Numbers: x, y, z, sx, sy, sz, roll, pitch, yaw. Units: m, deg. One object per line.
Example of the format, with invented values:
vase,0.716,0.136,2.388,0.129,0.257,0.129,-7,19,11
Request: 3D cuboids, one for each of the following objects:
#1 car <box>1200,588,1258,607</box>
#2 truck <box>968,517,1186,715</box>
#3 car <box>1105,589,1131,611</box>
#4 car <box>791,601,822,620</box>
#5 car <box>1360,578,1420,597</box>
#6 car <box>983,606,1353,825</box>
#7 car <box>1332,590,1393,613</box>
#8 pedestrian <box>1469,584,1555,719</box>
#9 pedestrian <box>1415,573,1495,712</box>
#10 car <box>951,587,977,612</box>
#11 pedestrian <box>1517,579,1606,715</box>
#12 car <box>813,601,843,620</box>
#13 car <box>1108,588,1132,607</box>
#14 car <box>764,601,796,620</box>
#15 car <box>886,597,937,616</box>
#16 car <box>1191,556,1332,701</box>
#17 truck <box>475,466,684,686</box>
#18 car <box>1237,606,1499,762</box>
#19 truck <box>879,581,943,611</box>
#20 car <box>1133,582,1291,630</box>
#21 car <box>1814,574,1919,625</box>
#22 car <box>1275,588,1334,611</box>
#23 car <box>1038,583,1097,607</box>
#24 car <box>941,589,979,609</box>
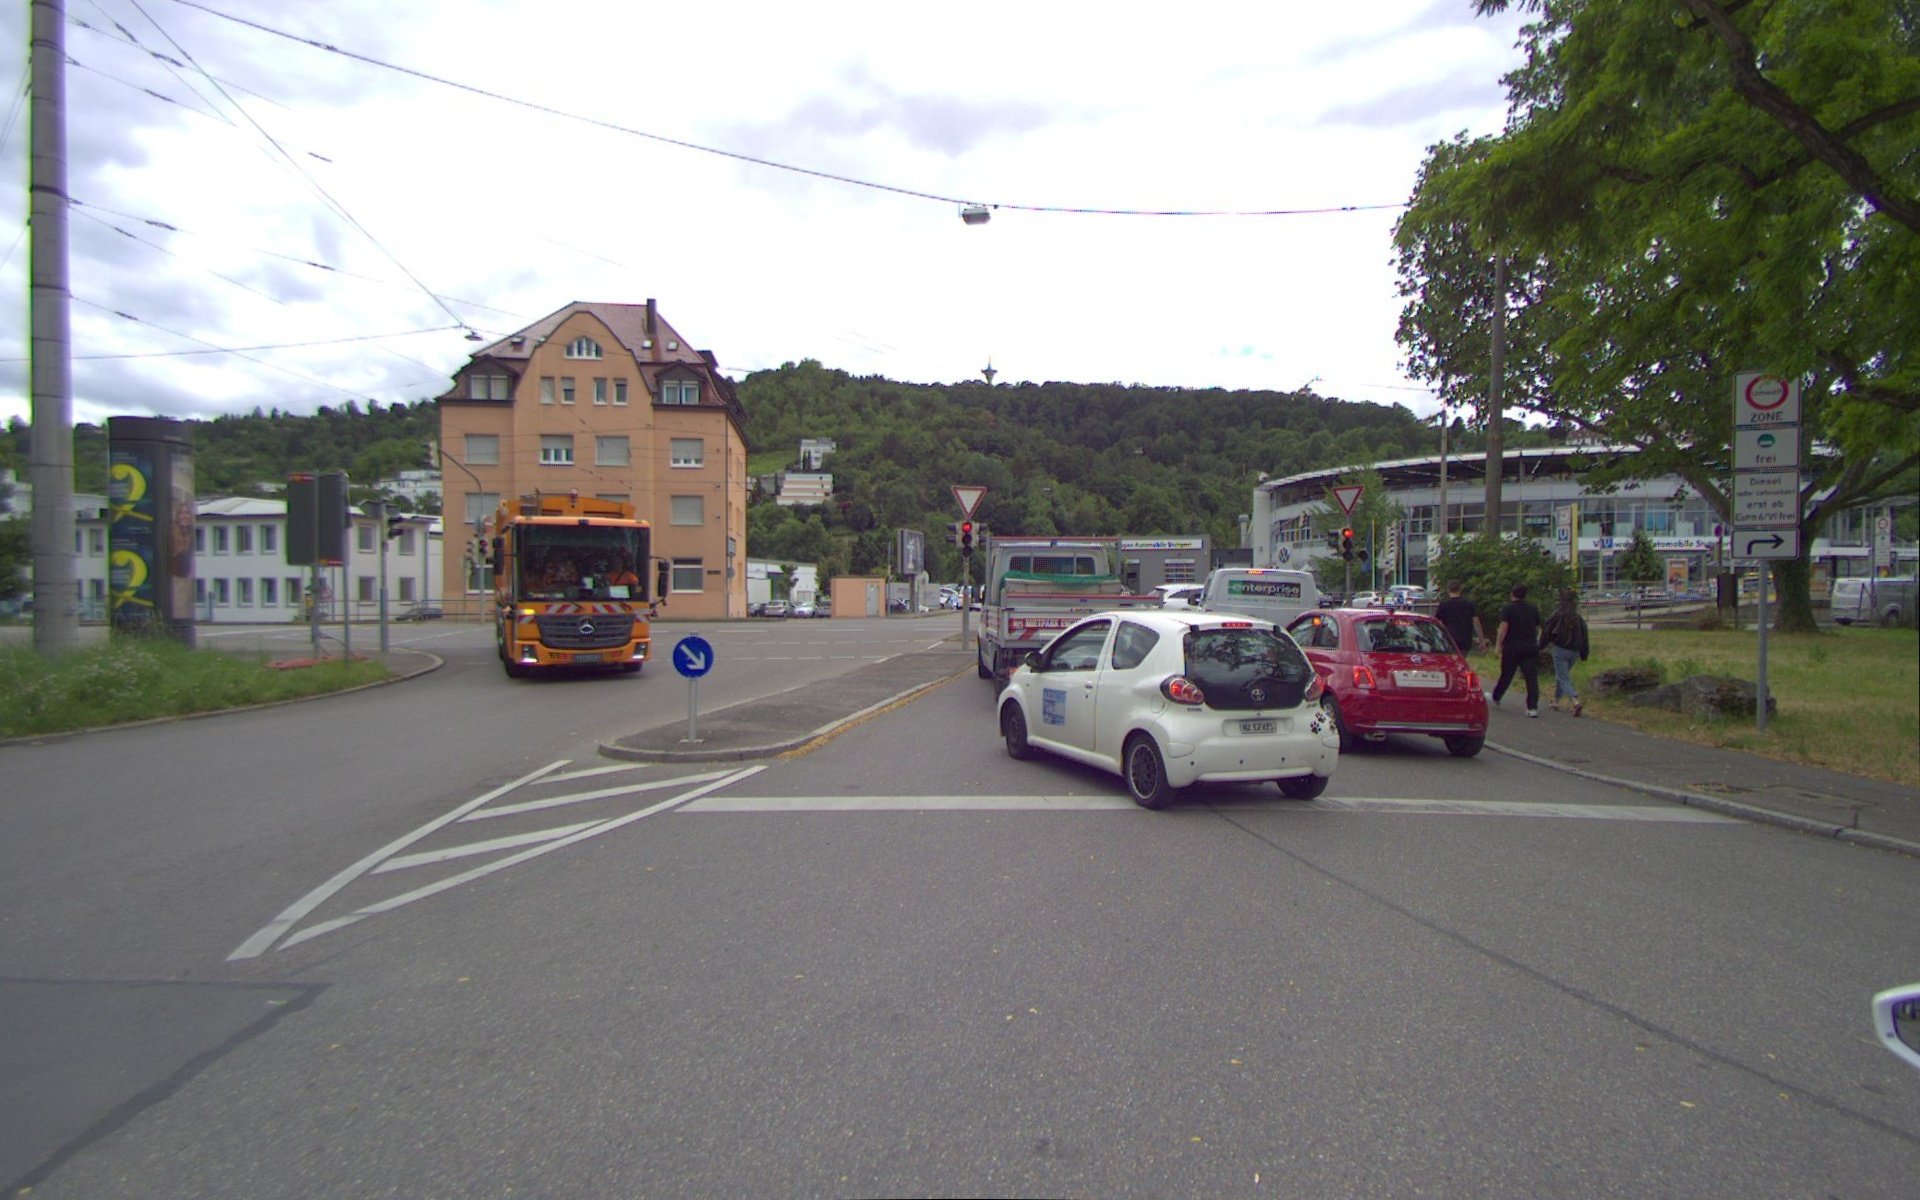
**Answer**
car,22.774,-0.227,85.164,4.714,1.554,1.776,0,1,13
truck,1.477,0.167,15.438,2.382,2.430,6.026,-1,1,-3
car,13.301,-0.006,84.589,1.959,1.840,4.002,0,1,12
car,-13.323,0.915,87.191,1.748,1.539,3.631,0,1,6
car,34.739,-1.026,81.192,1.777,1.512,4.175,-1,1,-34
car,1.584,0.807,8.799,1.619,1.452,3.414,-1,1,-21
car,27.888,0.100,69.711,1.748,1.521,4.003,0,1,-20
pedestrian,7.380,0.663,13.448,0.682,1.737,0.787,-1,1,-8
pedestrian,6.920,0.569,14.064,0.682,1.882,0.787,-1,1,-8
car,0.315,-0.050,76.492,1.828,1.842,4.402,0,1,2
pedestrian,8.066,0.612,13.500,0.682,1.763,0.787,-1,1,-8
car,-11.436,0.896,87.009,1.748,1.539,3.631,0,1,6
car,13.456,-0.260,84.219,1.740,1.554,4.092,0,1,13
car,-15.634,0.903,87.531,1.748,1.539,3.631,0,1,6
car,-3.961,0.529,81.956,4.136,1.554,1.774,0,1,-5
car,5.044,0.403,17.391,1.955,2.135,4.763,0,1,12
truck,-8.558,-0.512,21.517,2.764,3.574,10.340,1,1,-29
car,4.518,0.843,11.666,1.612,1.476,3.430,1,1,0
truck,-4.121,-0.367,84.976,5.117,2.425,1.992,0,1,-18
car,8.389,0.187,33.639,4.803,1.528,1.803,0,2,-4
car,38.808,-0.049,41.973,5.208,2.041,1.968,0,2,-12
car,23.487,-0.041,68.559,1.750,1.521,3.861,0,1,-22
car,8.852,-0.403,82.559,4.611,1.929,1.776,0,1,16
car,-0.027,-0.099,83.031,1.750,1.554,4.068,0,1,-22
